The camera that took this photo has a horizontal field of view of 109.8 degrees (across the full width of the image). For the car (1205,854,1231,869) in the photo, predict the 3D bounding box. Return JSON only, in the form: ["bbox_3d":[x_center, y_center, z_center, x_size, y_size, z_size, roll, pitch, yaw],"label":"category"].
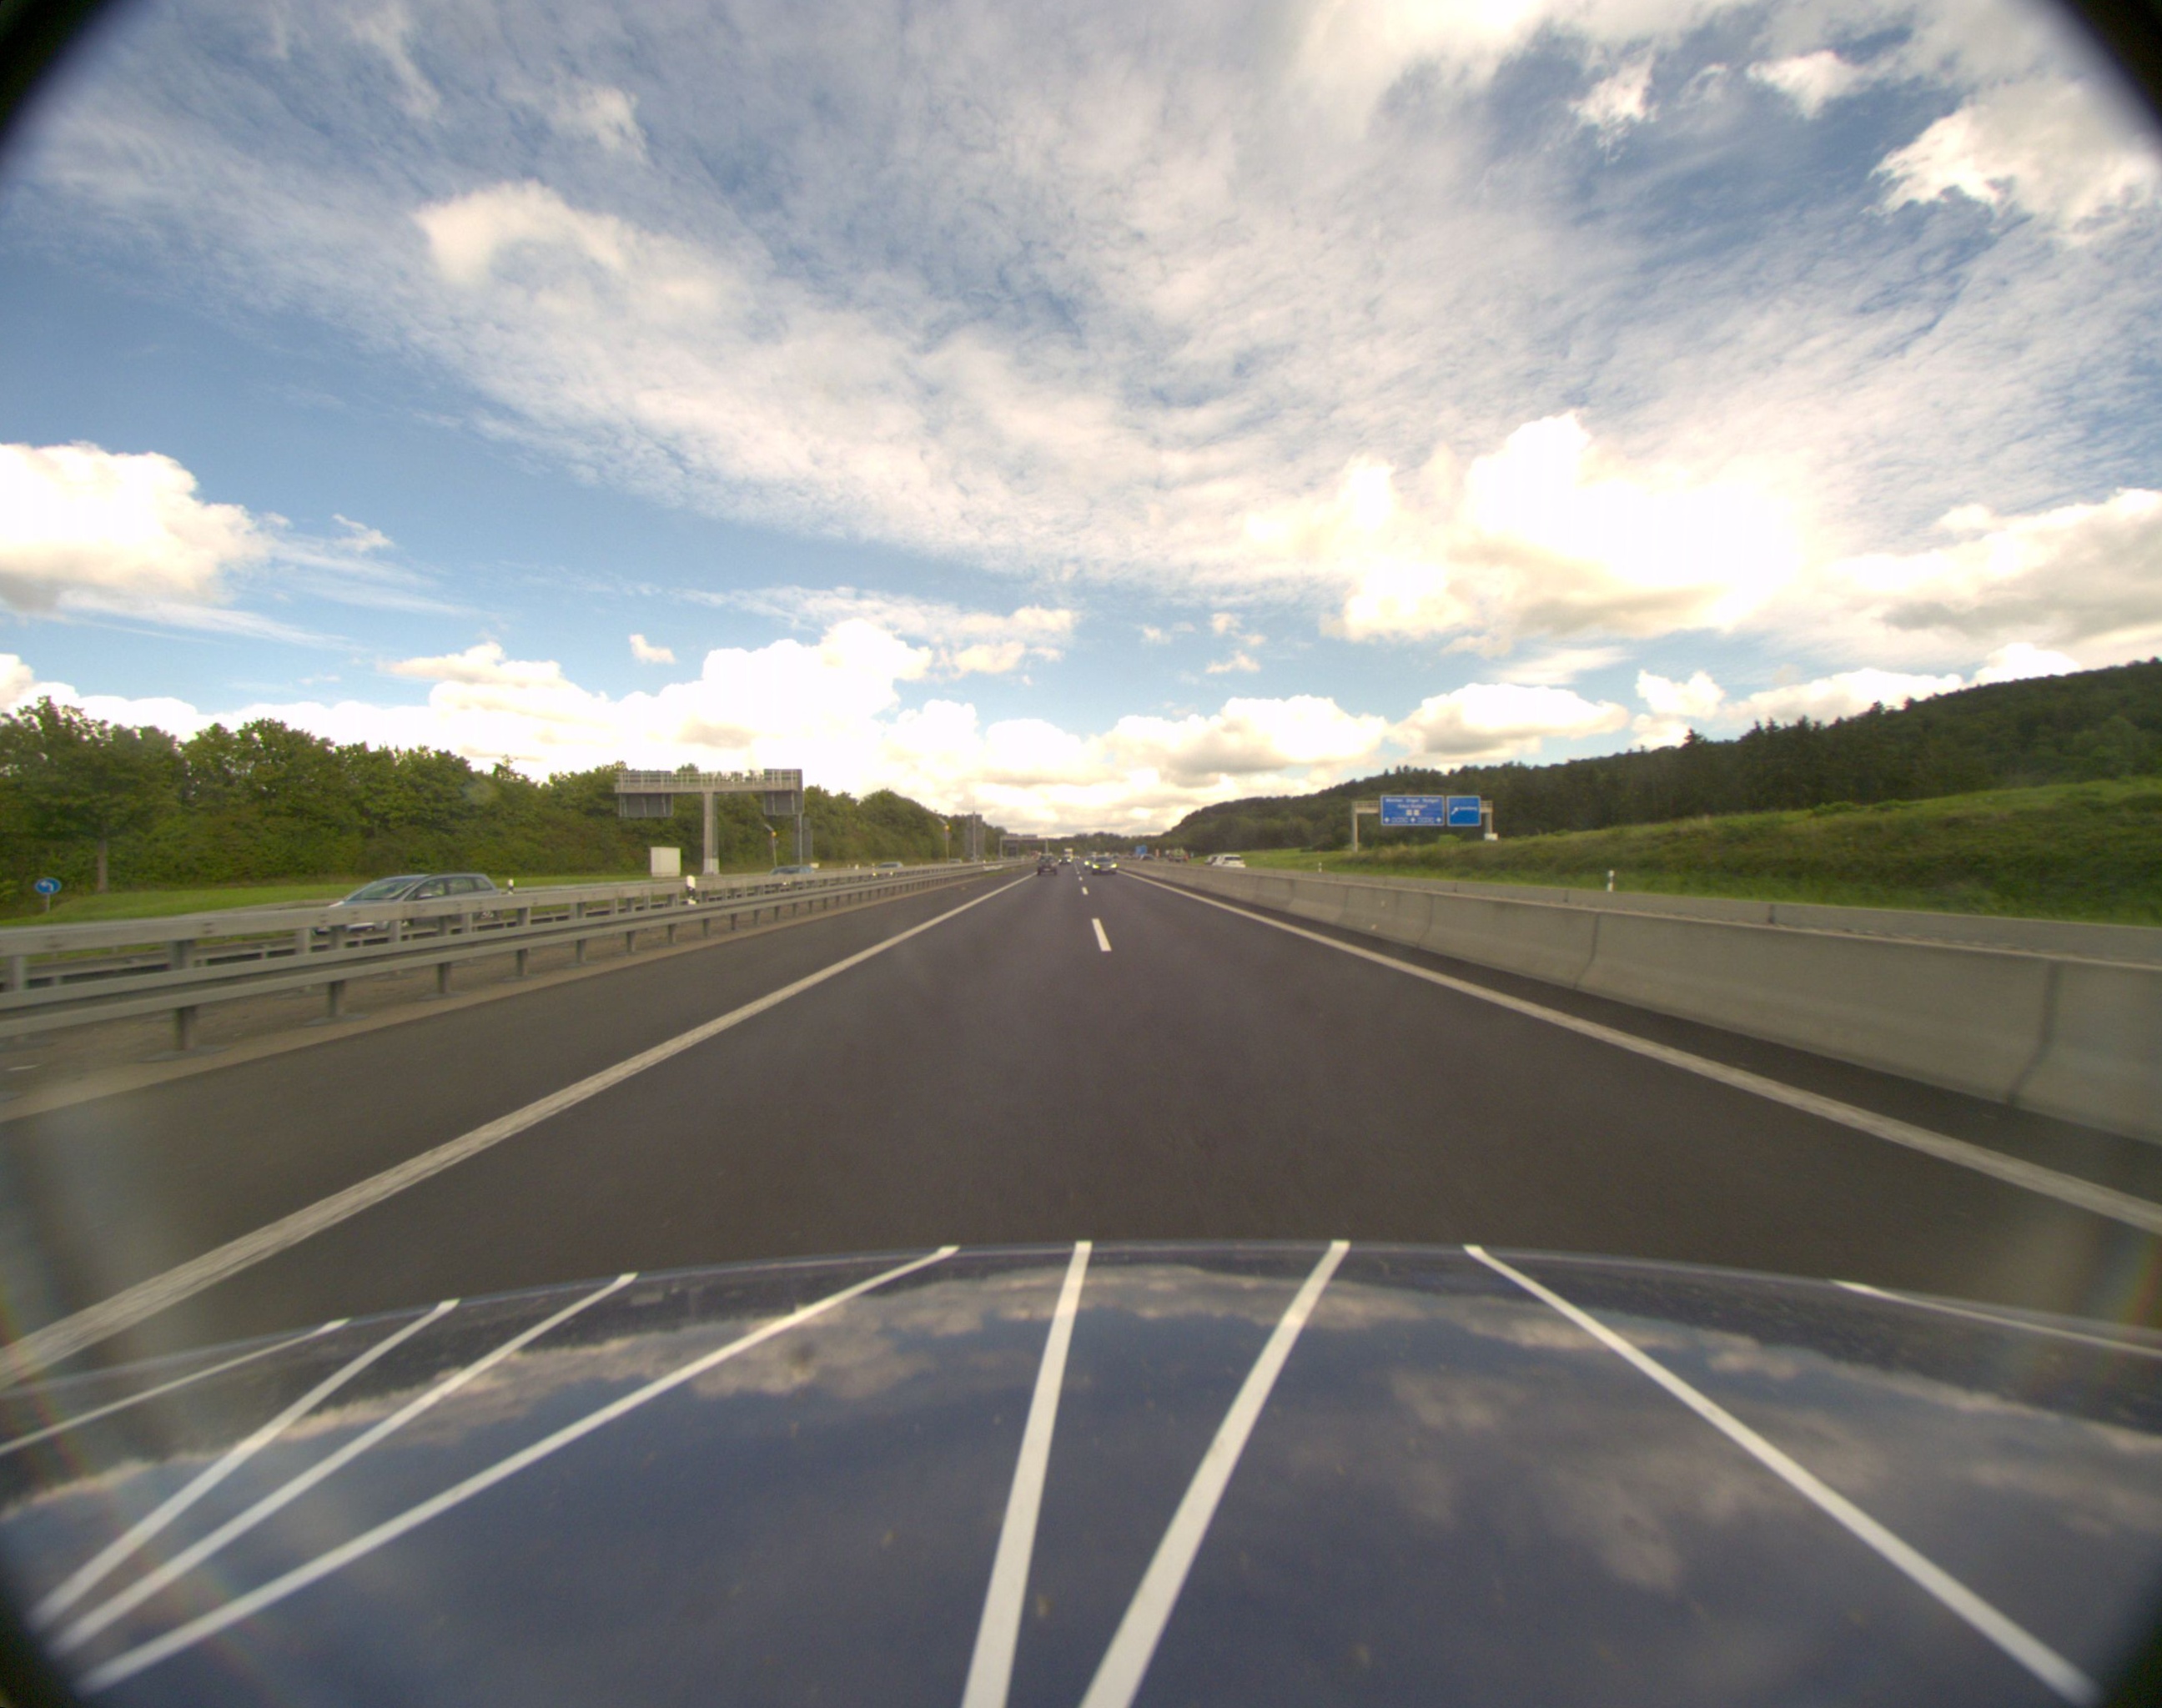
[{"bbox_3d":[14.553,0.745,80.913,1.998,1.470,4.691,0,1,1],"label":"car"}]

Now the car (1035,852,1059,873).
[{"bbox_3d":[-2.781,0.675,63.374,1.670,1.722,4.207,-1,1,1],"label":"car"}]

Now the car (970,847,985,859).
[{"bbox_3d":[-18.347,-0.188,134.442,1.999,2.173,5.127,-1,1,-1],"label":"car"}]

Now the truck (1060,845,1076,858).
[{"bbox_3d":[-4.461,-0.944,261.466,4.948,4.306,14.629,0,1,1],"label":"truck"}]

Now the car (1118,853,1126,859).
[{"bbox_3d":[10.322,0.414,193.186,1.792,1.390,4.622,0,1,-1],"label":"car"}]

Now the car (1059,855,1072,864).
[{"bbox_3d":[-2.667,0.933,131.210,1.998,1.591,4.000,0,1,0],"label":"car"}]

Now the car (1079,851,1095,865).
[{"bbox_3d":[0.673,0.424,83.073,1.724,1.406,3.938,-1,1,1],"label":"car"}]

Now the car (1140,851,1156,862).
[{"bbox_3d":[9.958,0.324,113.493,1.998,1.564,5.364,0,1,1],"label":"car"}]

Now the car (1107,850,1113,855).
[{"bbox_3d":[9.030,-0.521,238.698,1.792,1.390,4.798,0,1,0],"label":"car"}]

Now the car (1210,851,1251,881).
[{"bbox_3d":[10.599,0.813,54.111,1.998,2.002,4.677,-1,0,0],"label":"car"}]

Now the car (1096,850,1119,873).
[{"bbox_3d":[2.080,0.576,60.138,1.724,1.722,3.938,-1,1,1],"label":"car"}]

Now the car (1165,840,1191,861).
[{"bbox_3d":[10.088,-0.372,79.036,1.998,2.002,5.840,0,1,1],"label":"car"}]

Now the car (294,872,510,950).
[{"bbox_3d":[-17.304,1.379,19.692,1.999,1.698,3.999,0,1,0],"label":"car"}]

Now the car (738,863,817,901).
[{"bbox_3d":[-13.503,1.210,34.077,1.999,1.476,3.999,-1,1,-1],"label":"car"}]
